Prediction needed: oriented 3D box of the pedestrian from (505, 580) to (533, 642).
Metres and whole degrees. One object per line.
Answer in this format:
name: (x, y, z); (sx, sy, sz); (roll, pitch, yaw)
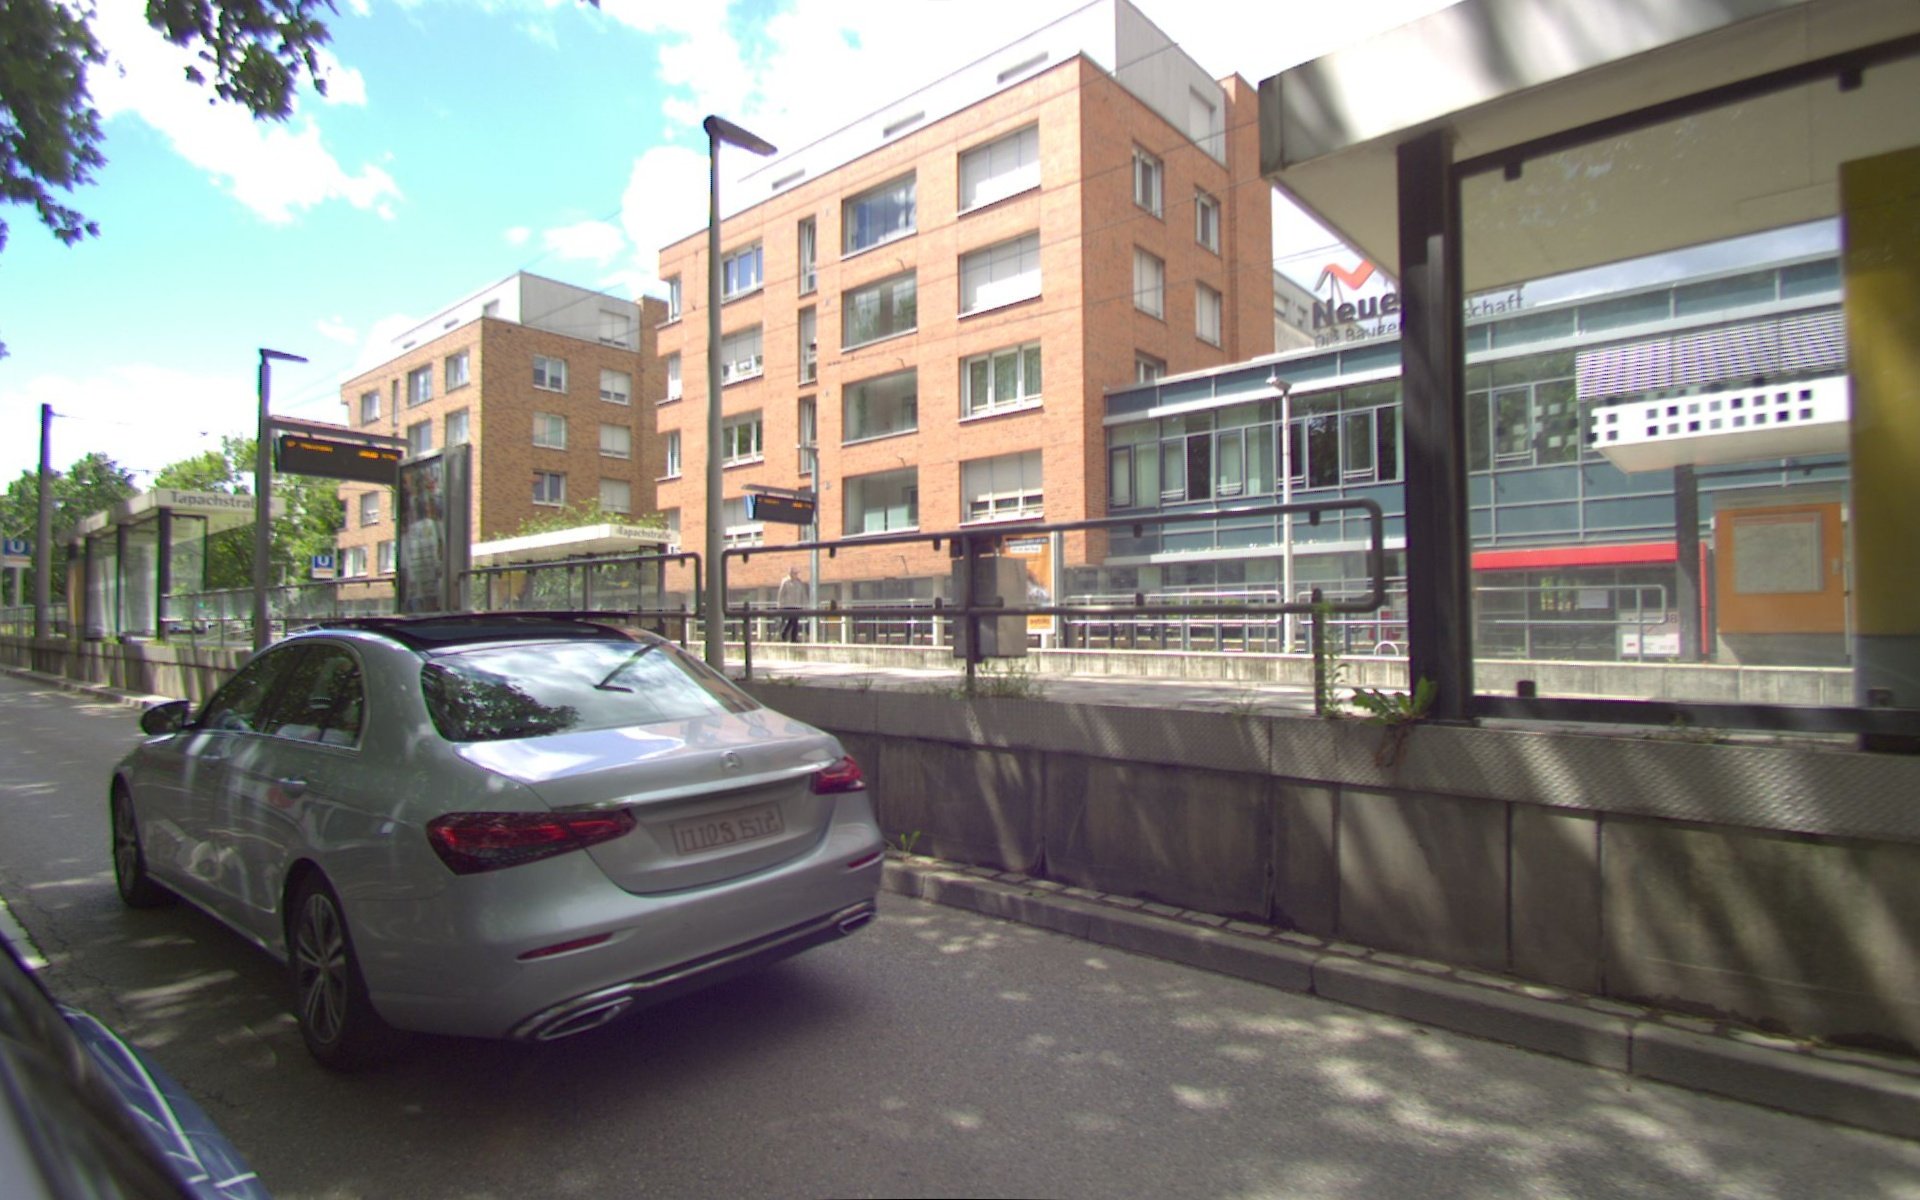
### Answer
pedestrian: (-12.917, 0.332, 29.658); (0.527, 1.777, 0.529); (-1, -2, 38)

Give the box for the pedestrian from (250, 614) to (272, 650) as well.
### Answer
pedestrian: (-35.782, 1.626, 51.804); (0.828, 1.839, 0.736); (-2, -3, 40)

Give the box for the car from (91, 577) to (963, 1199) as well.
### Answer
car: (-2.297, 0.722, 4.549); (4.573, 1.492, 1.744); (-1, 0, 40)

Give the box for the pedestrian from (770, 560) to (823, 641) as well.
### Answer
pedestrian: (-3.395, 0.027, 21.001); (0.815, 1.641, 0.743); (-2, -1, 41)

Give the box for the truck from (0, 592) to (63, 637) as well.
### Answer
truck: (-89.894, 1.380, 94.987); (2.595, 4.124, 9.603); (0, -2, 1)

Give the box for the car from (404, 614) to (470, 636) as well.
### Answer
car: (-34.287, 1.667, 66.374); (1.592, 1.410, 3.497); (-2, -3, 38)
